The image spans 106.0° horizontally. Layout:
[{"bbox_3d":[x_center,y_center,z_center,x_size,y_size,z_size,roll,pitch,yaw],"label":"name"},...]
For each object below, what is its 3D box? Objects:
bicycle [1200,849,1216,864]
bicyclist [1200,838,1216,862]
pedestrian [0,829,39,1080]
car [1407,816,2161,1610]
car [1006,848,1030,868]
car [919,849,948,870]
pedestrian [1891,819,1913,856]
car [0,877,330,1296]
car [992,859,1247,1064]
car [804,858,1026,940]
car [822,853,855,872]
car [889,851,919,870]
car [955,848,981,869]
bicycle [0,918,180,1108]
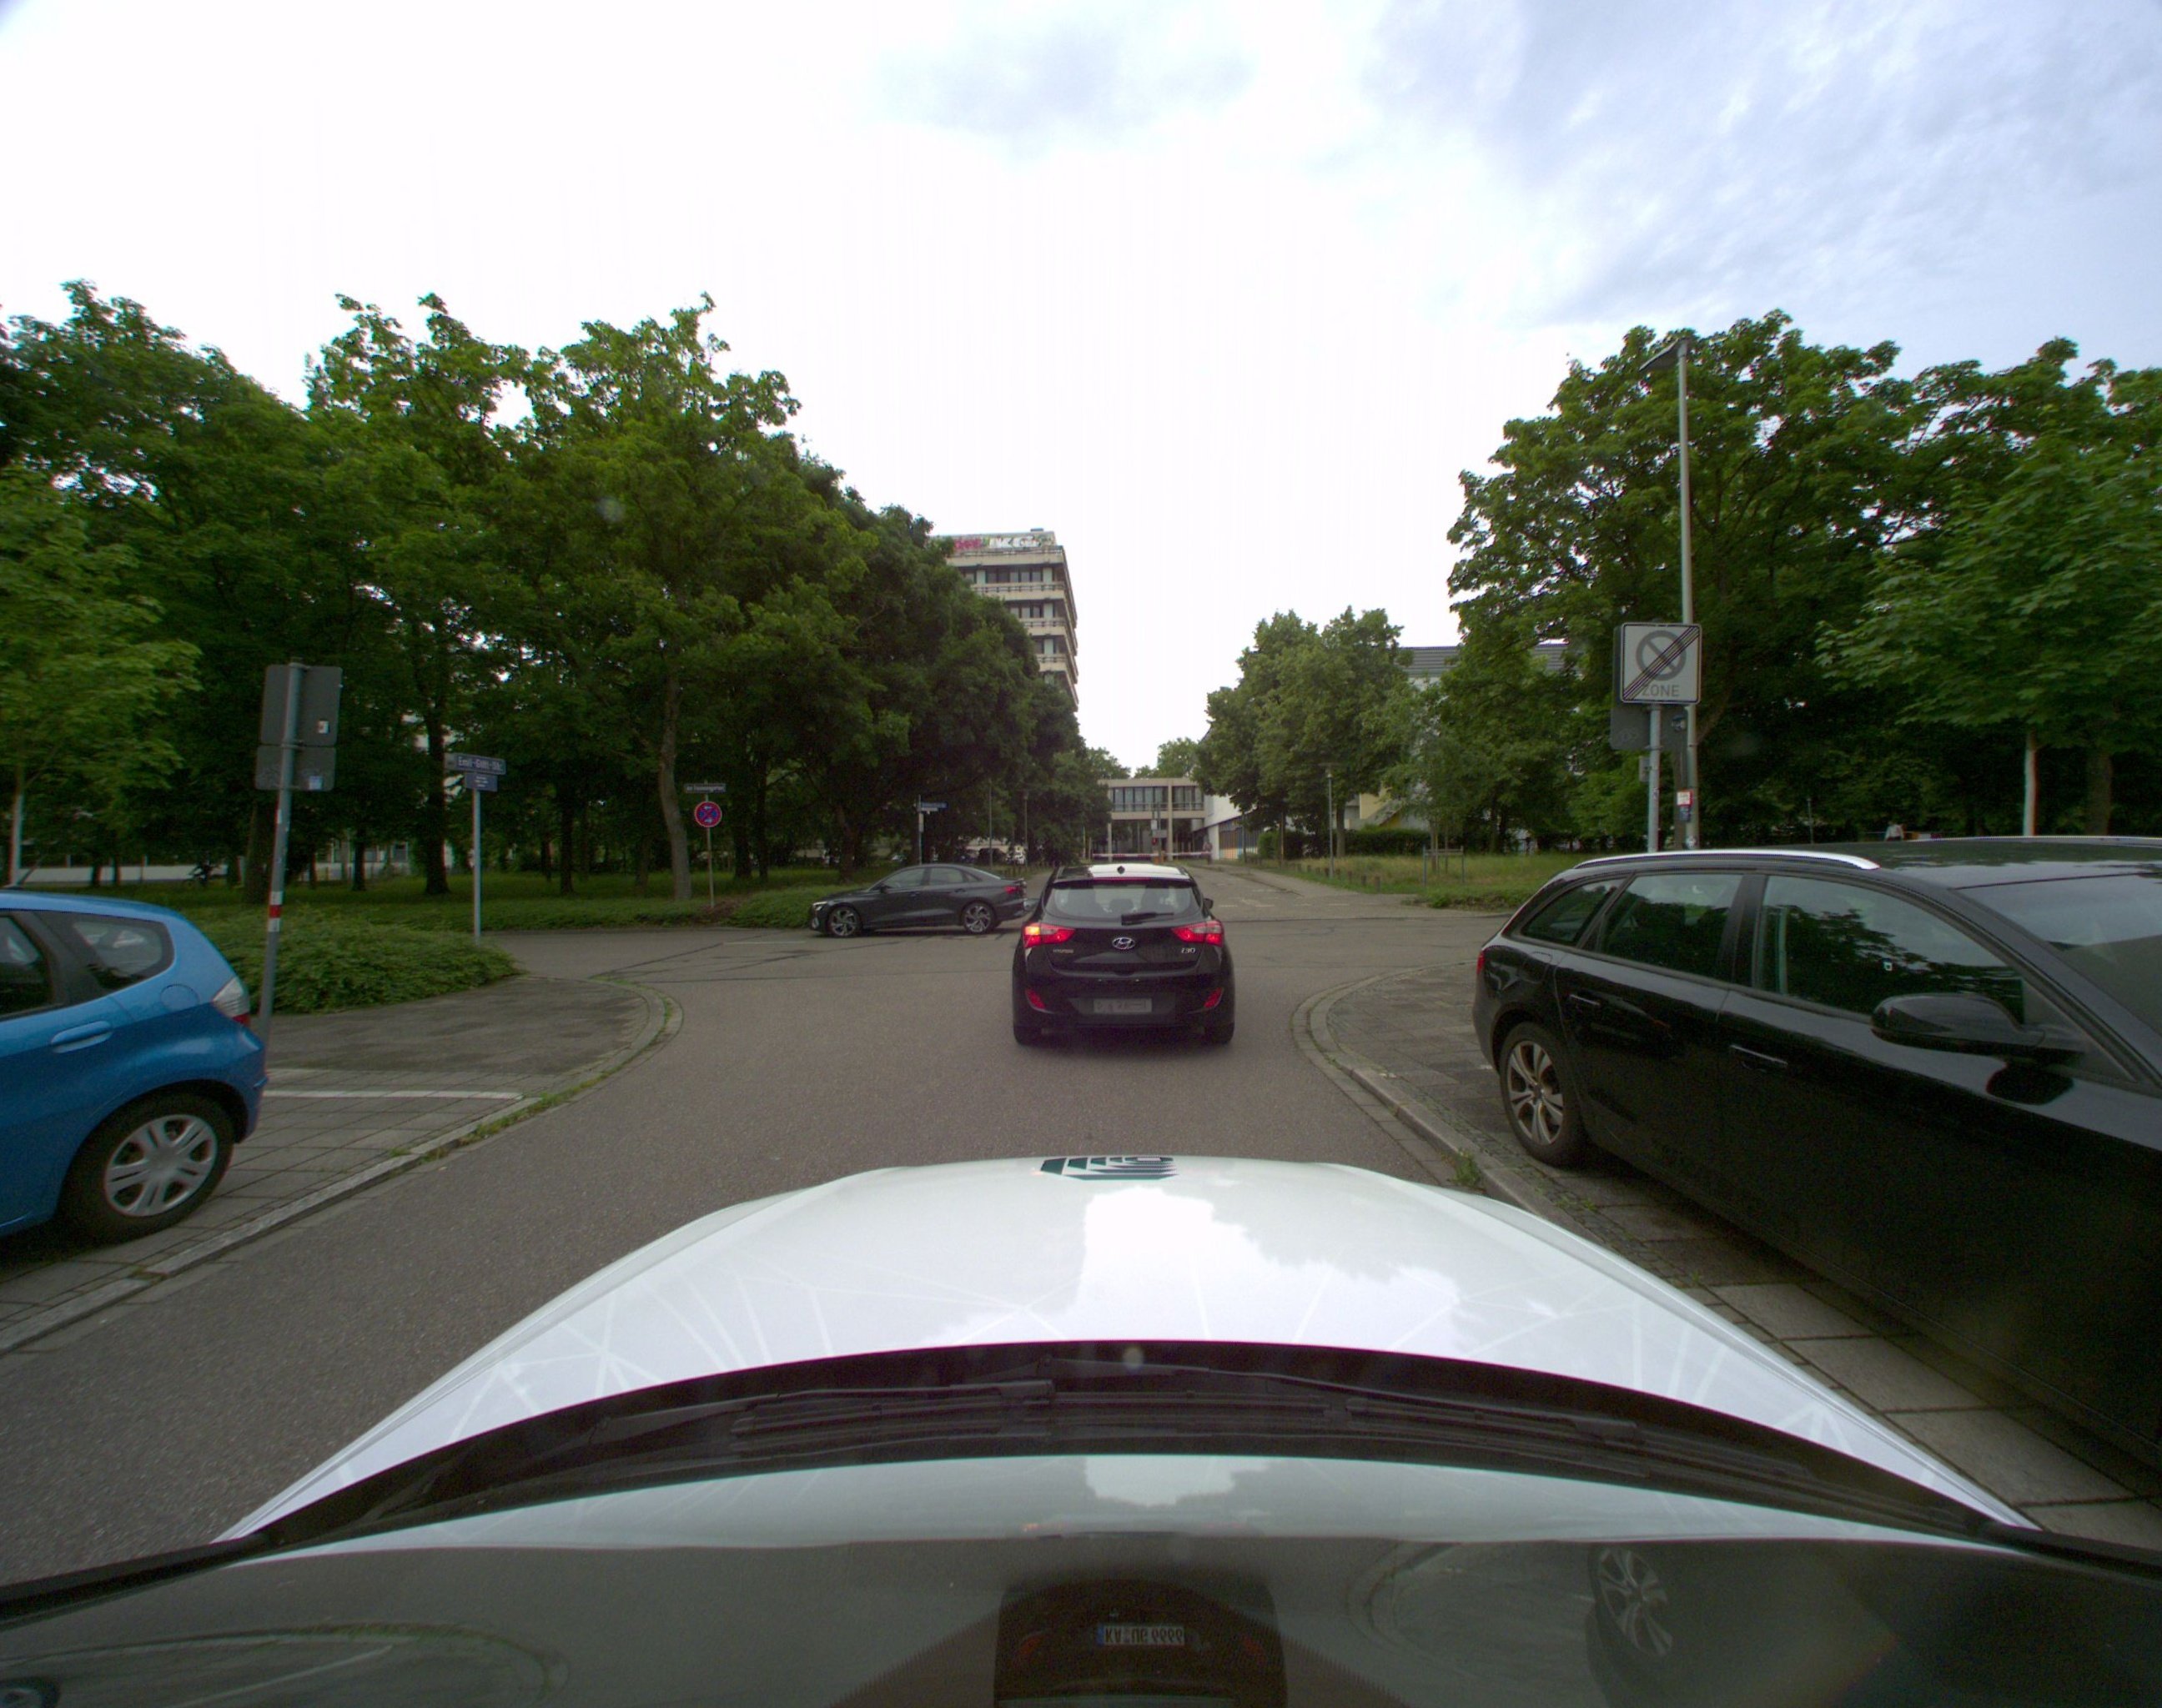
[{"bbox_3d":[9.102,0.165,58.319,0.863,1.074,2.143,-1,1,3],"label":"bicycle"},{"bbox_3d":[9.087,-0.293,58.224,1.013,1.644,0.924,-1,0,2],"label":"bicyclist"},{"bbox_3d":[-6.940,0.618,5.014,0.442,1.549,0.571,2,1,29],"label":"pedestrian"},{"bbox_3d":[2.897,0.633,2.478,1.855,1.462,4.724,-2,0,0],"label":"car"},{"bbox_3d":[-5.733,0.389,74.504,1.989,1.762,3.996,-1,-1,-2],"label":"car"},{"bbox_3d":[-13.417,0.511,74.260,1.989,1.728,3.996,-1,-2,-2],"label":"car"},{"bbox_3d":[41.249,-0.823,40.933,0.567,1.798,0.545,-1,1,11],"label":"pedestrian"},{"bbox_3d":[-4.823,0.876,2.260,1.724,1.462,3.957,1,0,1],"label":"car"},{"bbox_3d":[0.264,0.792,7.867,1.840,1.462,3.826,-1,0,-1],"label":"car"},{"bbox_3d":[-3.238,0.870,16.552,4.091,1.462,1.870,-1,0,-1],"label":"car"},{"bbox_3d":[-22.283,0.761,74.862,1.913,1.618,3.996,-1,0,-2],"label":"car"},{"bbox_3d":[-16.126,0.559,74.381,1.989,1.618,3.996,-1,0,-2],"label":"car"},{"bbox_3d":[-10.313,0.463,74.530,1.989,1.794,3.996,-1,-2,-2],"label":"car"},{"bbox_3d":[-7.109,1.046,5.127,0.531,1.119,1.829,-1,0,28],"label":"bicycle"}]
